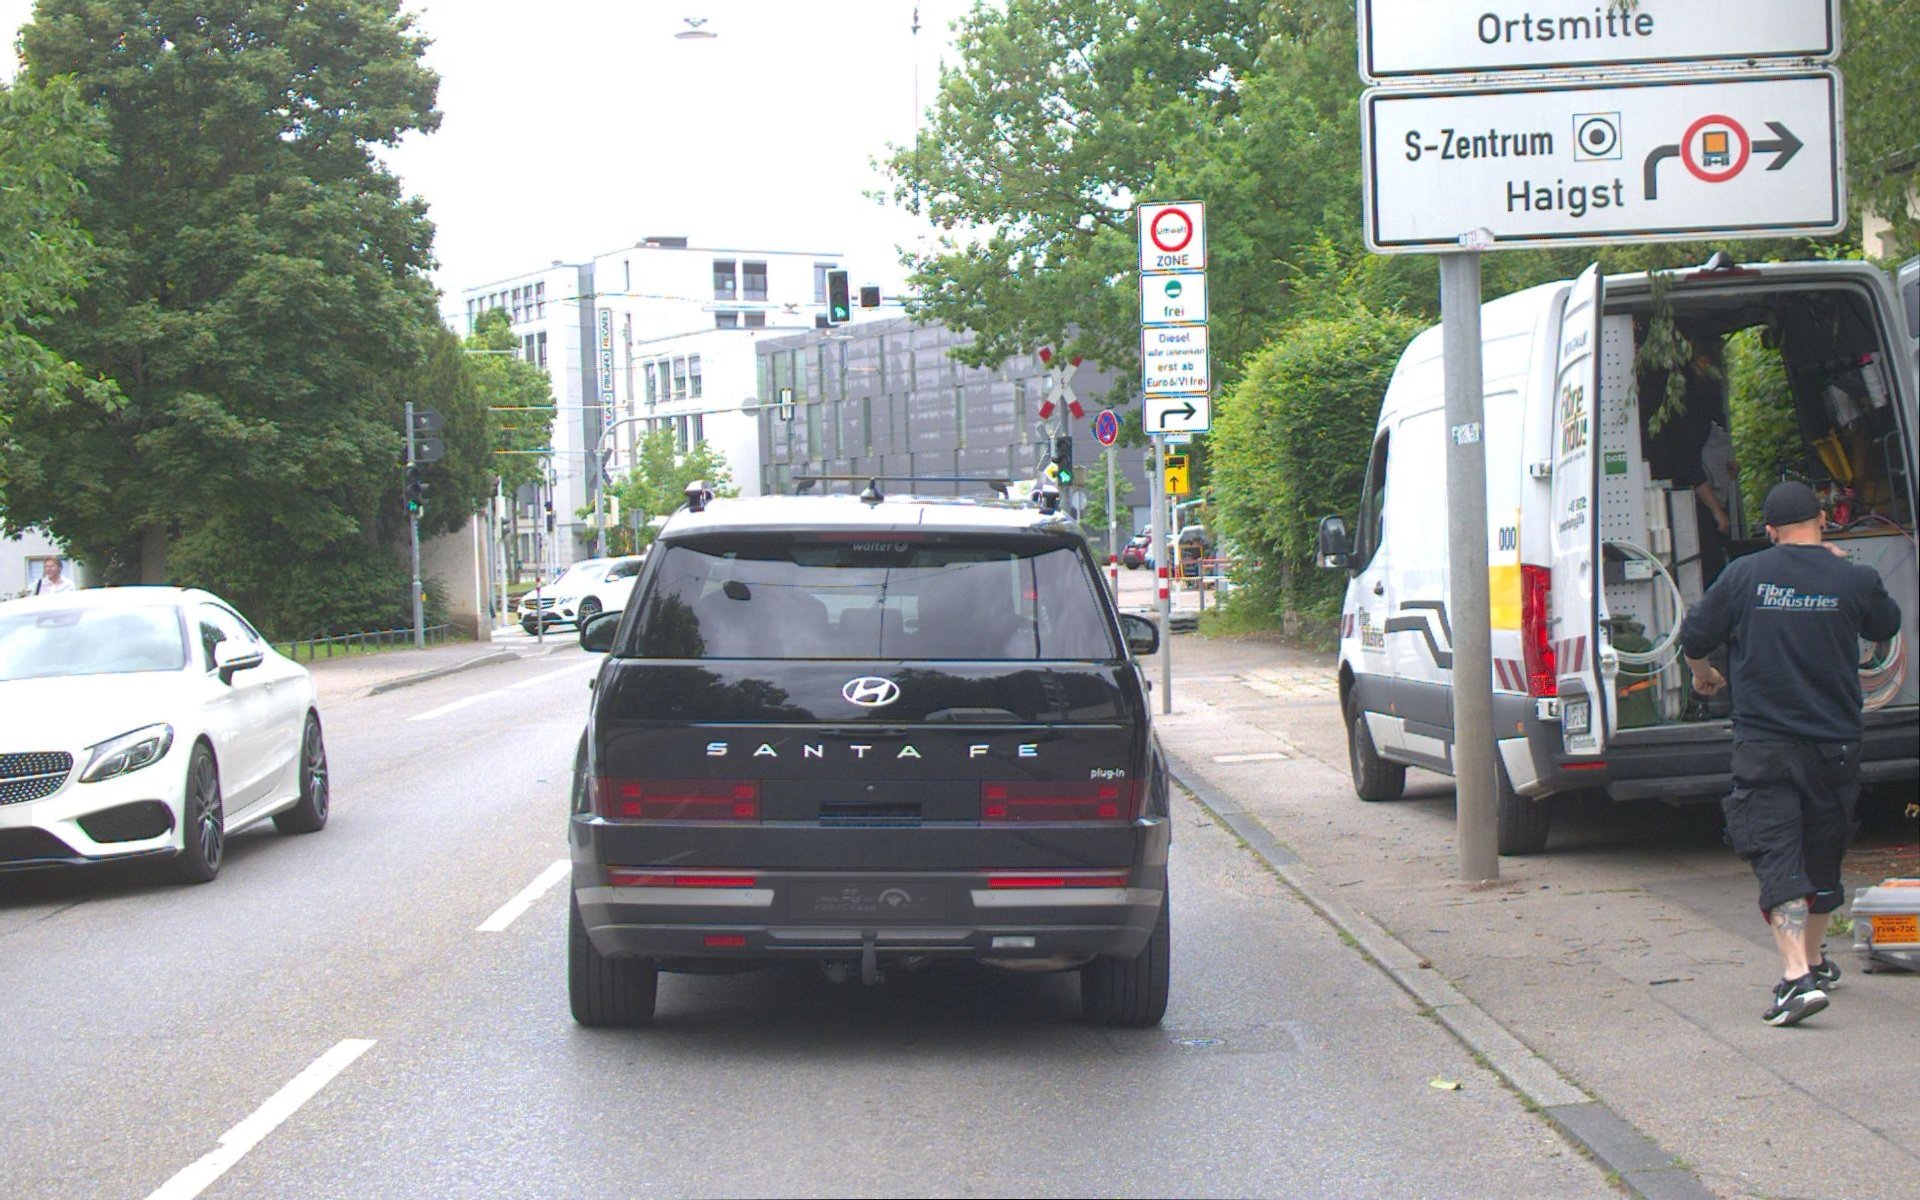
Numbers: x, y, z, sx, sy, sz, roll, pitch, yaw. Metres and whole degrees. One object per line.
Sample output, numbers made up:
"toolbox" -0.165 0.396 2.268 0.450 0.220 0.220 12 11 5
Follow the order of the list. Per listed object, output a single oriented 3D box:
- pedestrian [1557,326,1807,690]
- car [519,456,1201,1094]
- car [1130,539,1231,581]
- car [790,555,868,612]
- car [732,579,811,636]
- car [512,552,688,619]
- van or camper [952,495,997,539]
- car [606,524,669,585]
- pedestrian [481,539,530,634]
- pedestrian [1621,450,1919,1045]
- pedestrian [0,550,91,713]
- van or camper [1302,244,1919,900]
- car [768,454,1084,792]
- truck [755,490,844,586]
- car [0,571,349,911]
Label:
"pedestrian" 3.357 -0.420 16.006 0.736 1.638 0.801 -2 0 -28
"car" -0.302 0.482 11.824 1.897 1.770 3.994 2 0 0
"car" 8.857 -1.605 138.043 3.987 1.578 1.889 -1 1 3
"car" -3.992 -0.520 104.200 1.883 1.633 3.899 -1 1 -9
"car" -5.127 0.186 92.974 1.883 1.415 4.001 -1 1 -6
"car" -8.710 -0.372 83.415 1.841 1.533 4.259 0 1 37
"van or camper" 0.682 -3.931 164.136 1.795 1.992 3.824 2 0 -4
"car" -12.756 -1.804 135.632 2.332 2.307 4.959 -1 1 -6
"pedestrian" -9.737 -0.296 73.663 0.830 2.007 1.047 2 0 2
"pedestrian" 2.497 0.431 10.488 0.751 1.715 0.791 -3 2 19
"pedestrian" -9.917 0.330 37.296 0.767 1.742 0.904 0 0 -1
"van or camper" 3.382 -0.131 16.923 2.340 2.486 6.603 -4 0 -2
"car" -0.228 0.122 23.234 1.897 2.035 3.994 2 0 0
"truck" -6.872 -2.595 145.766 3.107 3.846 9.623 -1 1 -6
"car" -4.416 0.629 17.227 1.814 1.414 4.829 -4 1 -1
